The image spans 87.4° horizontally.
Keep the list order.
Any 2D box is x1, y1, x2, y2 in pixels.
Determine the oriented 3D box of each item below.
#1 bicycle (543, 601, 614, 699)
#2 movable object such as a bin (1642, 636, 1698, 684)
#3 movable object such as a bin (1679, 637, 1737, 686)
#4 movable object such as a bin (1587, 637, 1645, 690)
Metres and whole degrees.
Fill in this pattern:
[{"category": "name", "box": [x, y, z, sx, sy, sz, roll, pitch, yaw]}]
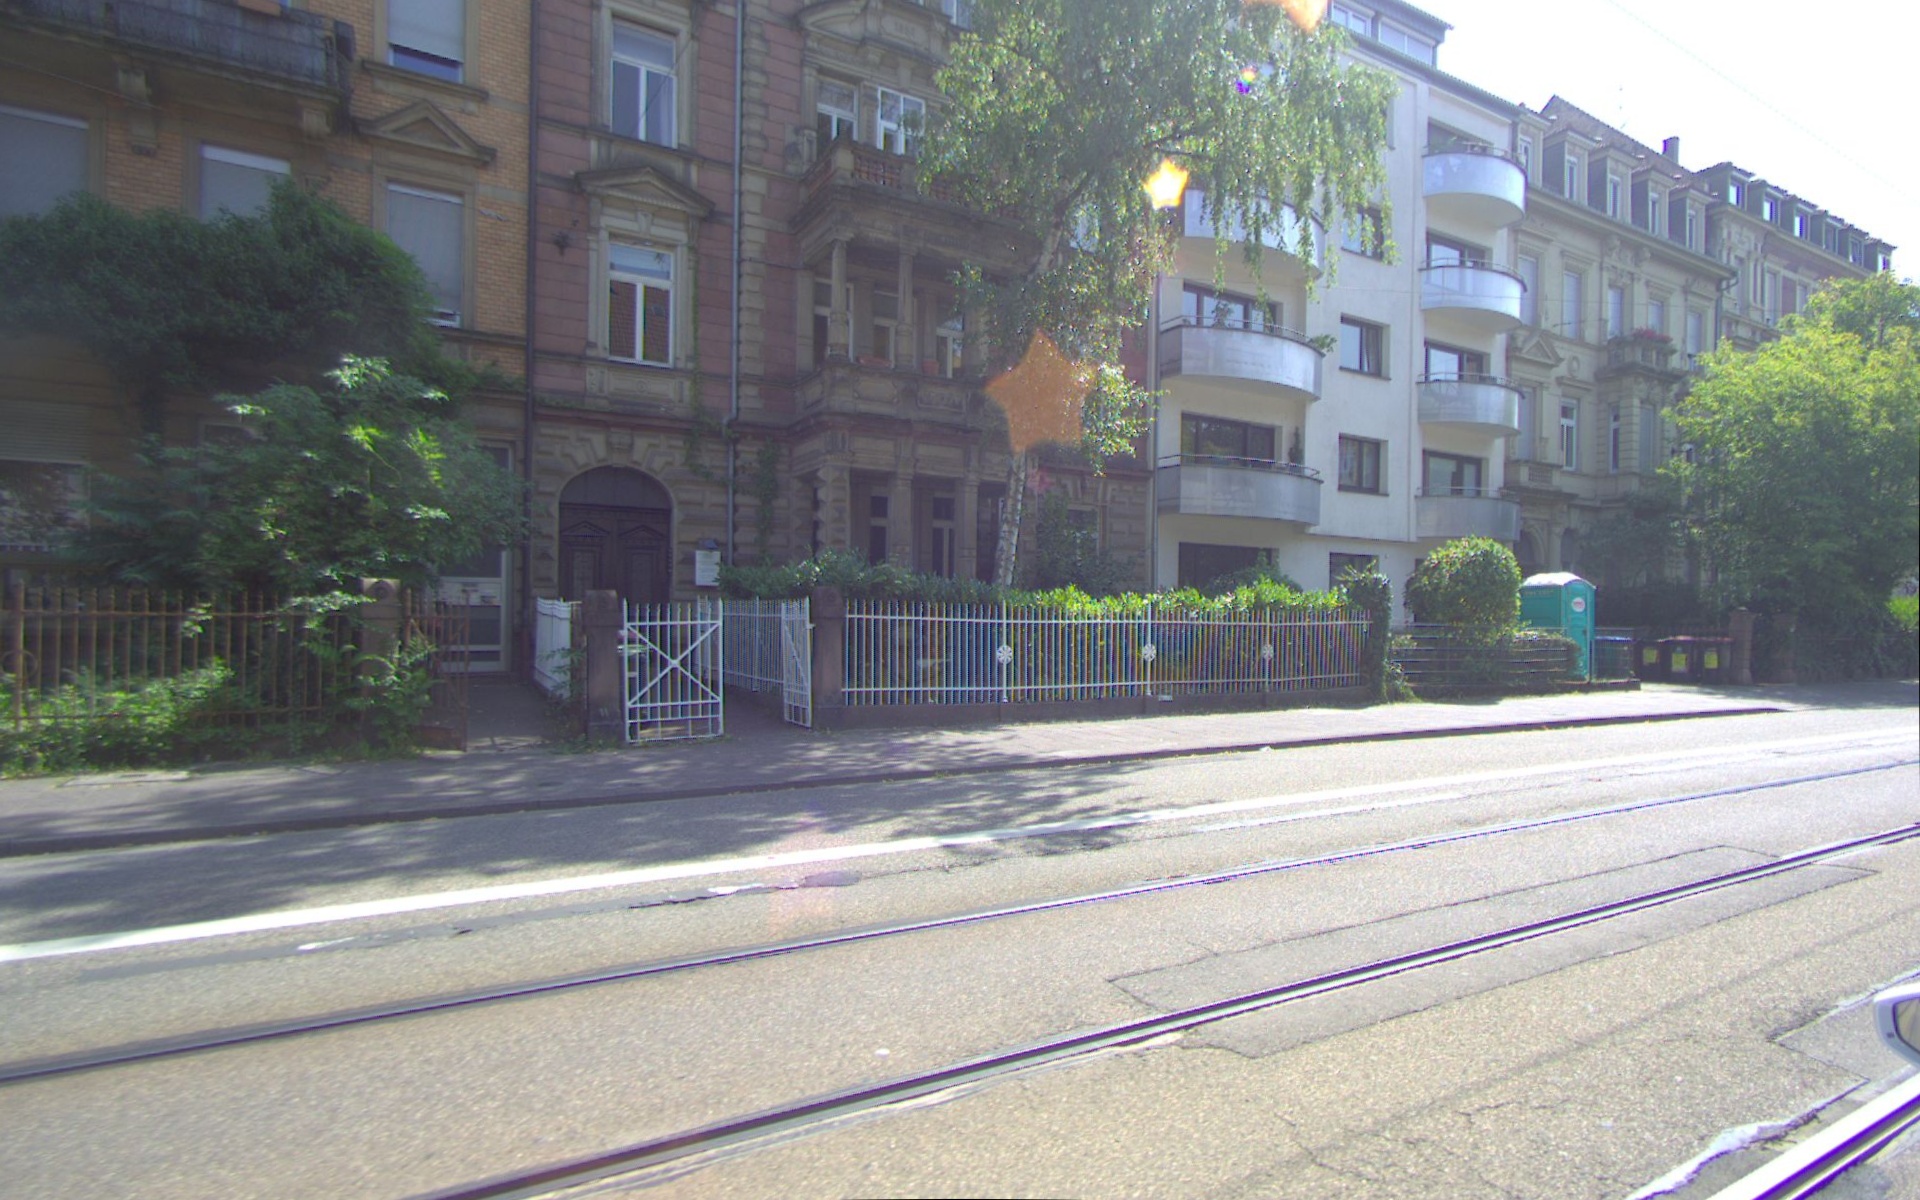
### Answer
[{"category": "bicycle", "box": [-5.588, 0.690, 14.654, 0.708, 1.309, 1.804, 2, 0, -29]}, {"category": "movable object such as a bin", "box": [17.011, 1.437, 24.074, 0.793, 1.090, 0.783, 2, 0, -27]}, {"category": "movable object such as a bin", "box": [17.419, 1.423, 23.397, 0.793, 1.090, 0.783, 2, 0, -27]}, {"category": "movable object such as a bin", "box": [14.313, 1.384, 21.919, 0.746, 1.090, 0.782, 2, 0, -32]}]
